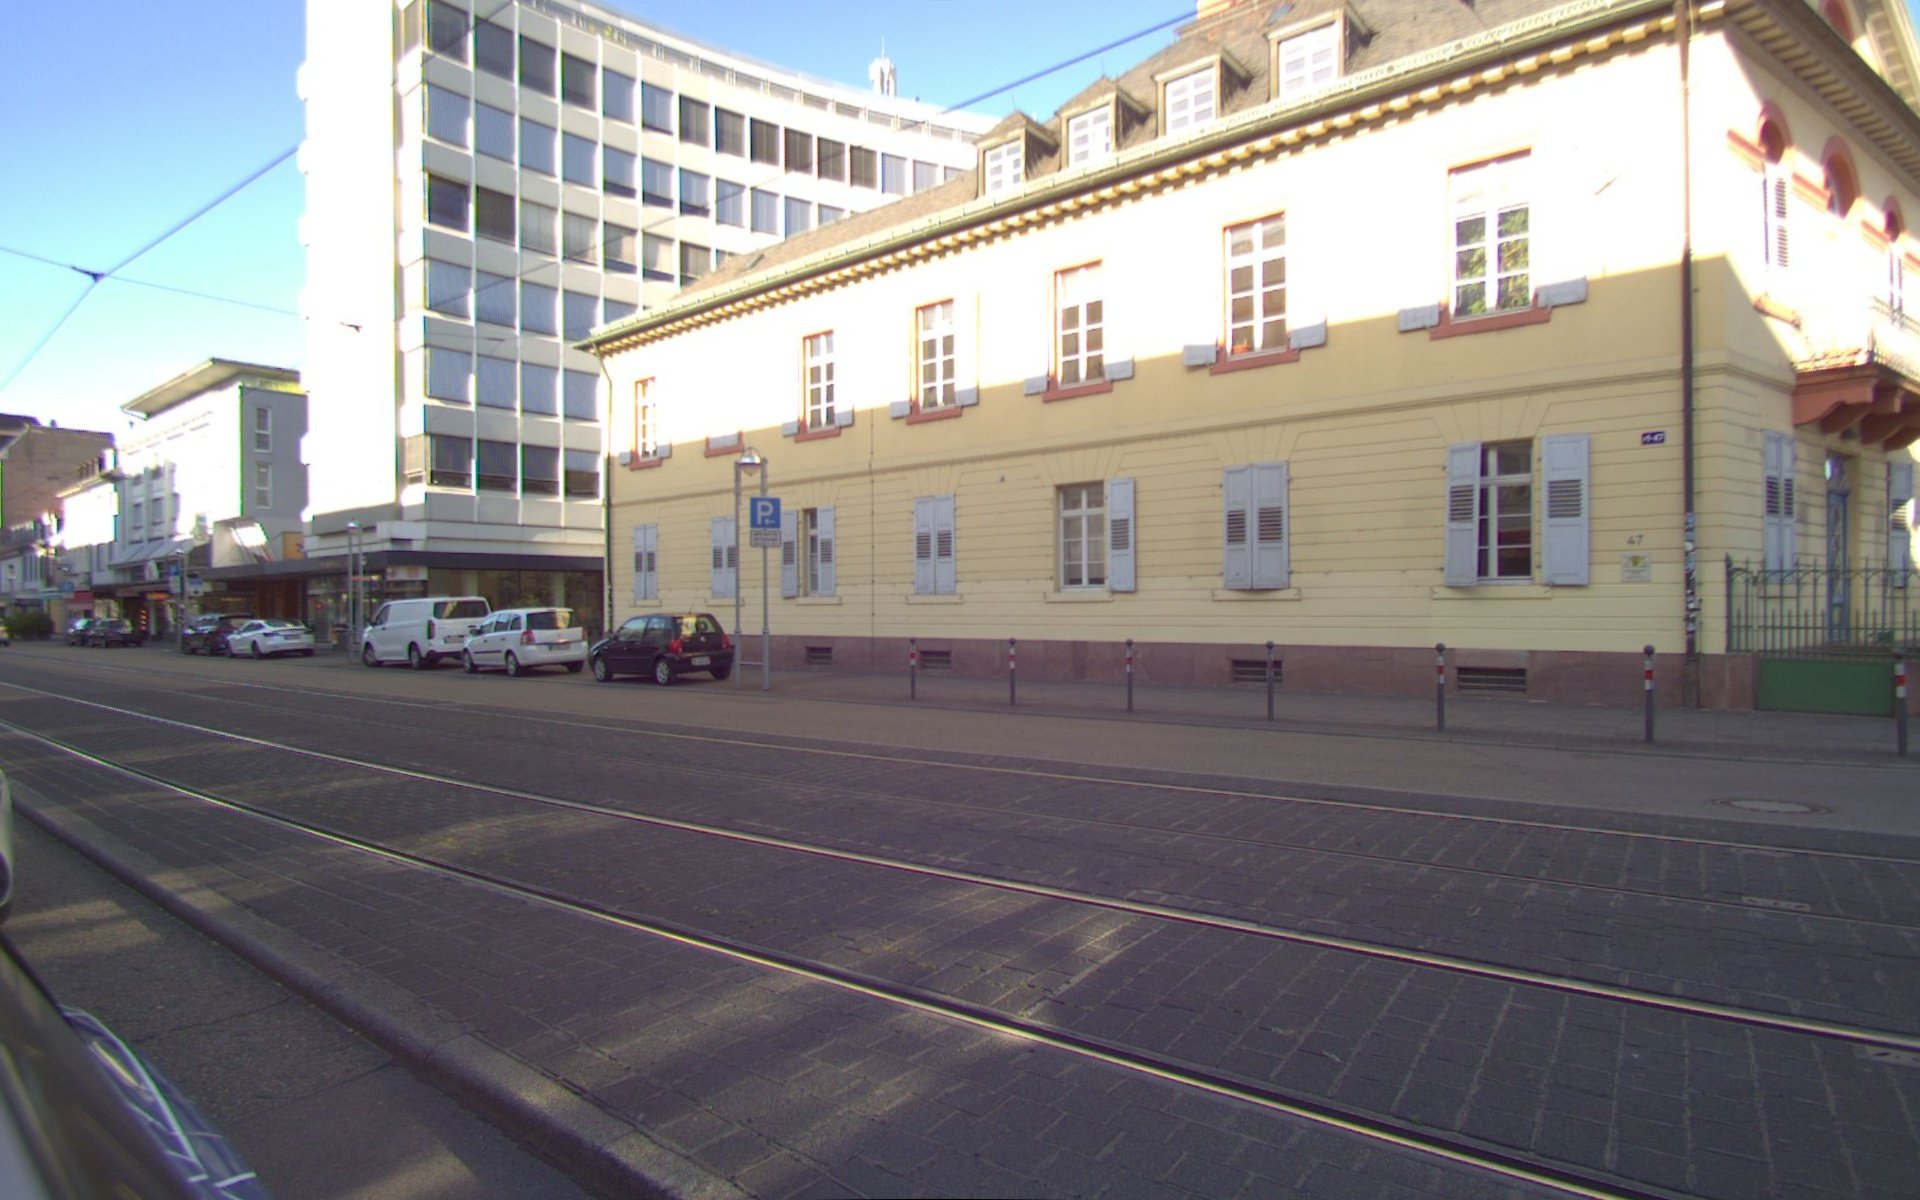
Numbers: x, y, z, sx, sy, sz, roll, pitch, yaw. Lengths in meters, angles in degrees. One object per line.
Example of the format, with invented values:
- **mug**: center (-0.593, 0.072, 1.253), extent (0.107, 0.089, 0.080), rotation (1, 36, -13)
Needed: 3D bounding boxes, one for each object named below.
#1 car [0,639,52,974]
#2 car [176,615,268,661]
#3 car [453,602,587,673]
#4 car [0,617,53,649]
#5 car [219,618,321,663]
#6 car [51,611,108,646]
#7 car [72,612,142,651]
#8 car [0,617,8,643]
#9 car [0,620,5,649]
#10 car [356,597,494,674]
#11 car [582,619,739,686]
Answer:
- **car**: center (-6.093, 0.904, 4.818), extent (3.992, 1.393, 1.862), rotation (-1, 0, 36)
- **car**: center (-29.917, 1.493, 40.980), extent (4.103, 1.717, 1.975), rotation (-1, 0, 38)
- **car**: center (-11.064, 0.893, 25.332), extent (4.005, 1.621, 1.619), rotation (-1, 0, 43)
- **car**: center (-62.874, 2.179, 68.052), extent (3.996, 2.058, 2.172), rotation (-1, -1, 39)
- **car**: center (-25.673, 1.447, 37.596), extent (4.369, 1.541, 1.974), rotation (-1, 0, 39)
- **car**: center (-50.268, 1.613, 57.770), extent (3.995, 1.896, 1.768), rotation (-1, -1, 38)
- **car**: center (-43.942, 1.590, 52.108), extent (3.995, 1.874, 1.974), rotation (-1, 0, 38)
- **car**: center (-78.758, 2.430, 81.857), extent (3.995, 2.029, 1.974), rotation (-1, 0, 38)
- **car**: center (-54.342, 1.930, 55.931), extent (3.994, 1.609, 1.739), rotation (-1, -1, 38)
- **car**: center (-15.362, 0.971, 28.964), extent (4.619, 2.029, 2.014), rotation (-1, -1, 41)
- **car**: center (-6.373, 1.061, 21.436), extent (3.210, 1.263, 1.667), rotation (-1, 0, 39)
